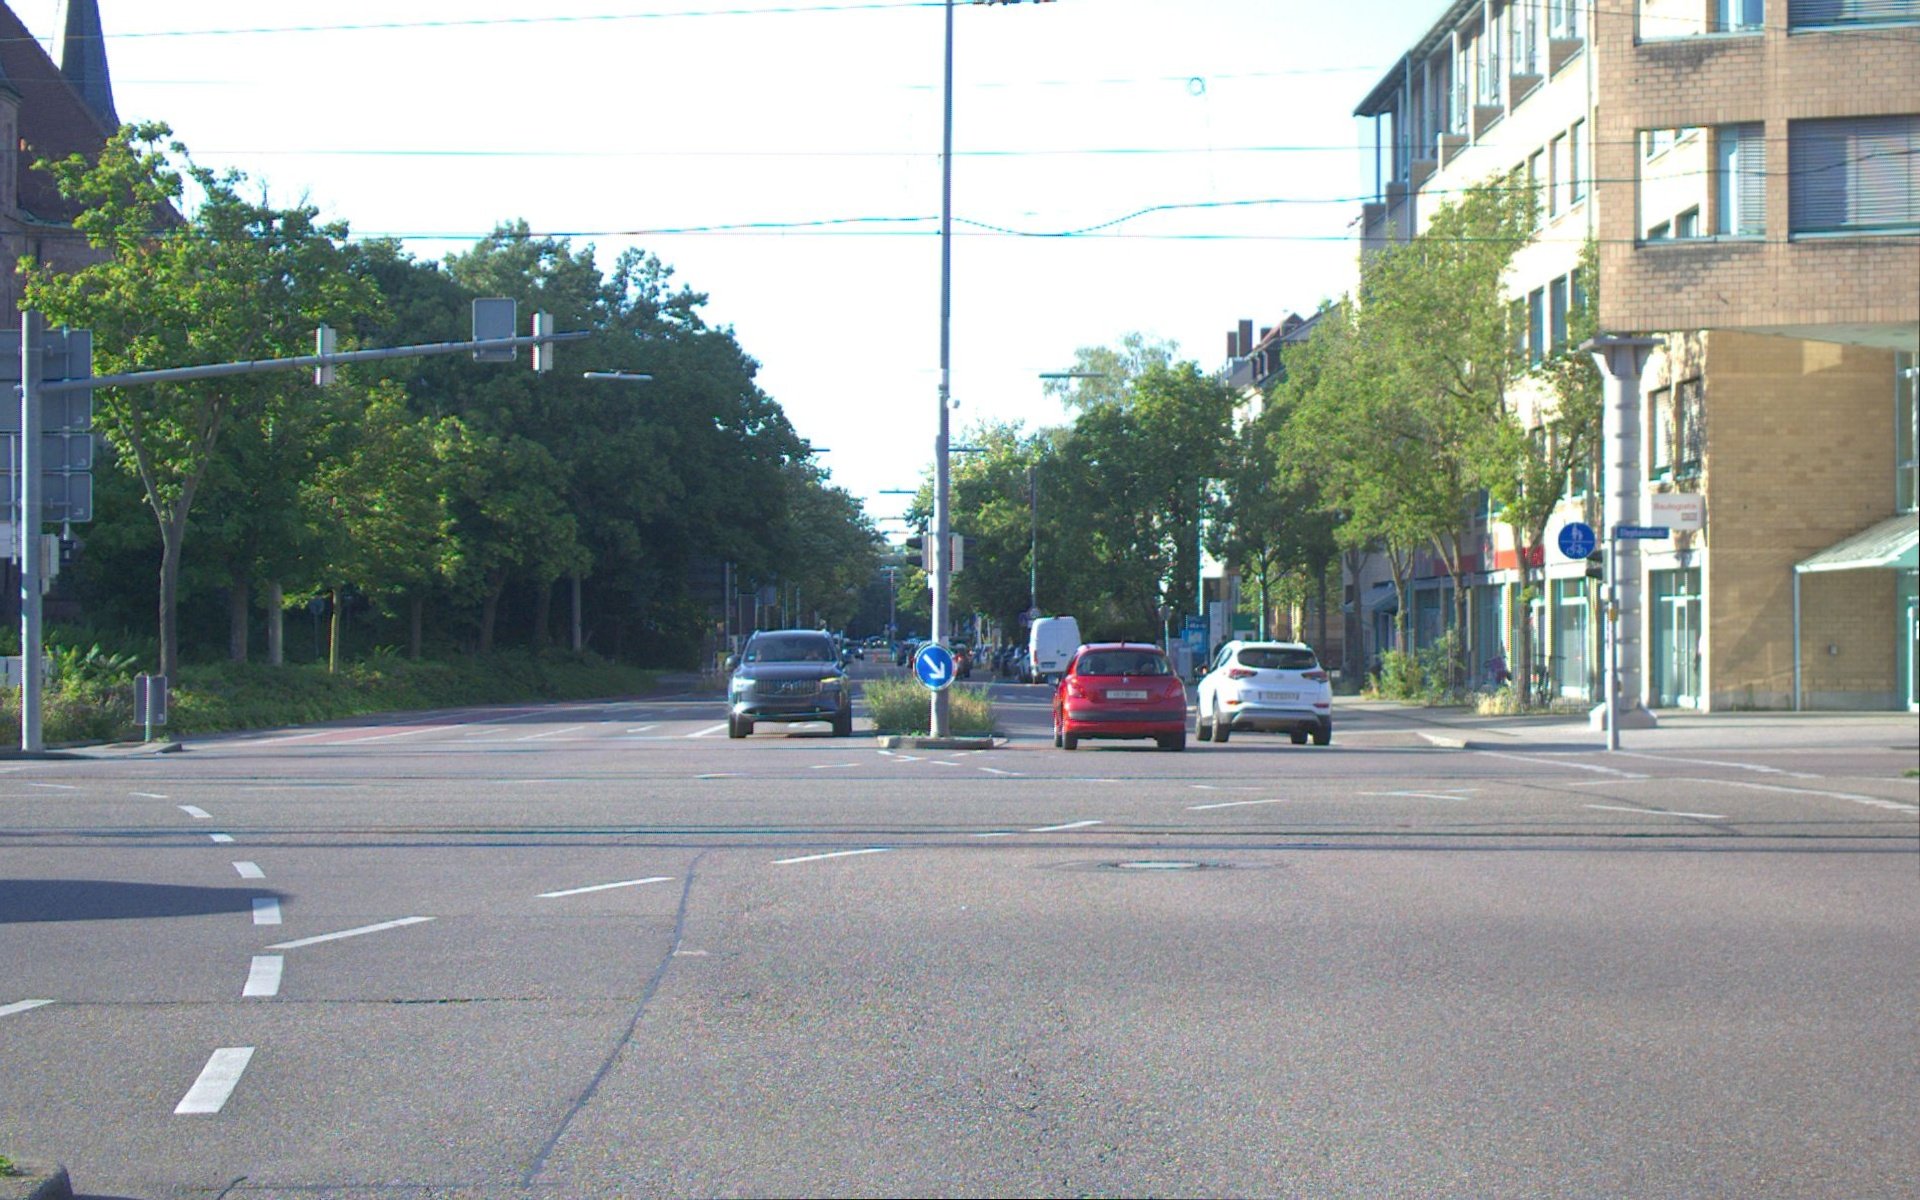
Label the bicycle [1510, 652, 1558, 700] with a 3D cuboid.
[{"bbox_3d":[12.293,1.623,73.716,0.646,0.991,2.081,0,-1,-1],"label":"bicycle"}]

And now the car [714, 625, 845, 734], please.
[{"bbox_3d":[-2.940,1.319,57.008,1.993,1.718,5.031,0,-1,-1],"label":"car"}]

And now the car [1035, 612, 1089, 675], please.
[{"bbox_3d":[4.077,1.733,138.088,1.993,2.432,4.000,1,-1,0],"label":"car"}]

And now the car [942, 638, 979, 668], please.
[{"bbox_3d":[0.001,2.286,149.973,1.594,1.263,3.266,0,0,0],"label":"car"}]

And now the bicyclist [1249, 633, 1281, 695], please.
[{"bbox_3d":[6.898,1.450,77.780,0.592,1.364,0.930,2,0,0],"label":"bicyclist"}]

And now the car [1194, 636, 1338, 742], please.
[{"bbox_3d":[4.949,1.416,56.119,1.916,1.602,4.269,1,-1,0],"label":"car"}]

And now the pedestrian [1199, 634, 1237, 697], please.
[{"bbox_3d":[8.168,2.067,108.736,1.107,1.969,1.161,0,-1,0],"label":"pedestrian"}]

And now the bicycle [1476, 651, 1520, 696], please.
[{"bbox_3d":[12.237,1.660,78.205,0.646,0.991,2.081,0,-1,-1],"label":"bicycle"}]

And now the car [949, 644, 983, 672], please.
[{"bbox_3d":[0.268,2.723,161.953,1.594,1.263,3.266,0,0,0],"label":"car"}]

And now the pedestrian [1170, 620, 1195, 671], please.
[{"bbox_3d":[8.030,1.639,124.105,0.847,1.797,0.776,0,0,0],"label":"pedestrian"}]

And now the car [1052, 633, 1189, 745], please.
[{"bbox_3d":[2.197,1.206,47.846,1.670,1.457,4.000,1,-1,0],"label":"car"}]

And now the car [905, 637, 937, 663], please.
[{"bbox_3d":[-2.013,2.569,177.564,1.594,1.263,3.266,0,0,0],"label":"car"}]

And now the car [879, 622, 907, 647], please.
[{"bbox_3d":[-4.743,2.445,244.667,1.886,1.665,4.000,1,-1,0],"label":"car"}]

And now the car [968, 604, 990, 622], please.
[{"bbox_3d":[1.364,0.942,248.880,1.594,1.263,3.266,0,0,0],"label":"car"}]
